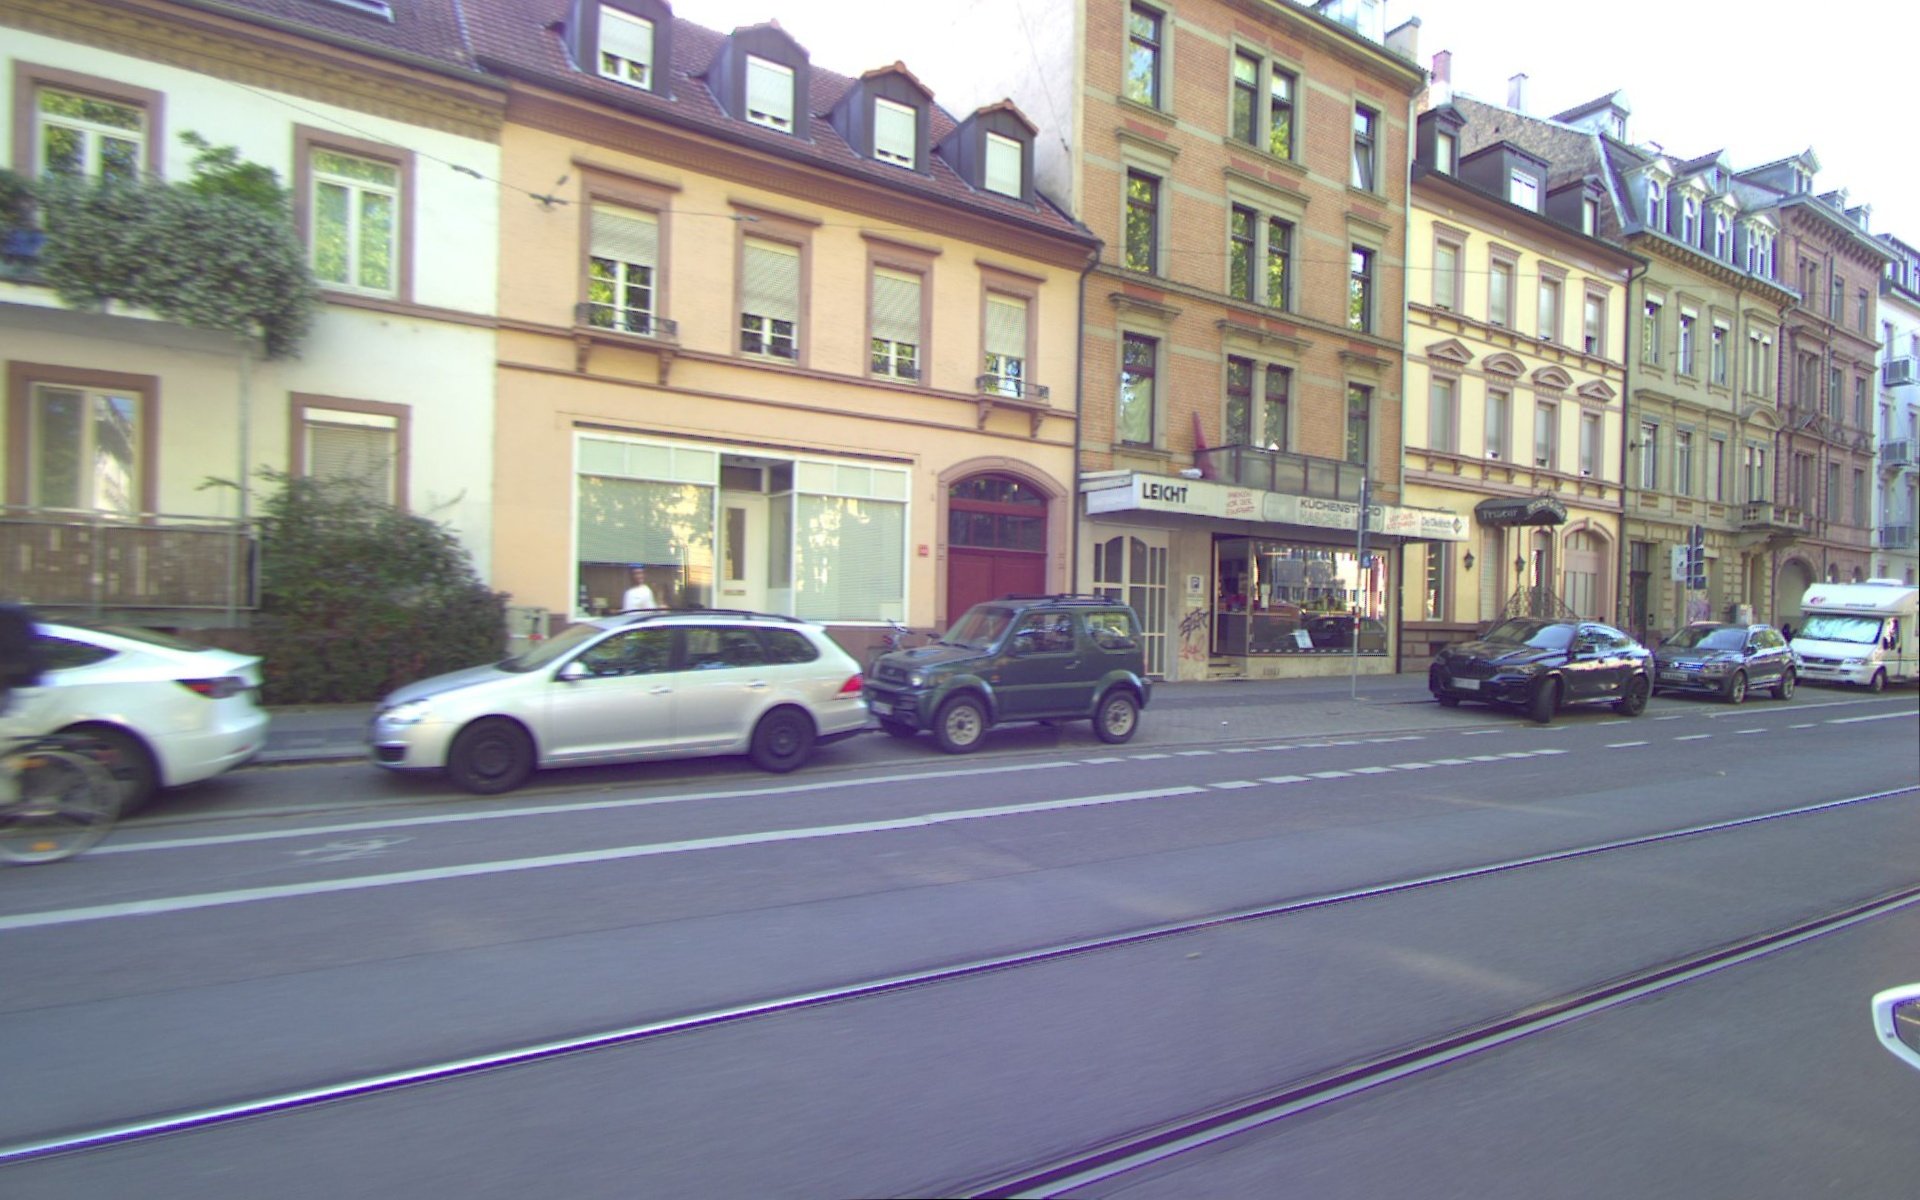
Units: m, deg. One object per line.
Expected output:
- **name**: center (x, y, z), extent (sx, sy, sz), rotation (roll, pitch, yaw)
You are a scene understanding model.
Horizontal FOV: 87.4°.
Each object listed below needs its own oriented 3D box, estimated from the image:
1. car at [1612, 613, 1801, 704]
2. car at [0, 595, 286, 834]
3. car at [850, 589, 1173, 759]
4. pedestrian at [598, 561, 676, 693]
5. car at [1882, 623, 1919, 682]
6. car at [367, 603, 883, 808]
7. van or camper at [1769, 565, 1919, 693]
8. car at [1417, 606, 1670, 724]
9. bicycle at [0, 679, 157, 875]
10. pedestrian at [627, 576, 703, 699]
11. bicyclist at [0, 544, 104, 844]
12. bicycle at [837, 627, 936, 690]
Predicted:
- **car**: center (16.816, 1.262, 22.582), extent (4.422, 1.805, 1.953), rotation (2, 0, -33)
- **car**: center (-7.463, 0.733, 6.895), extent (4.639, 1.523, 1.816), rotation (1, 1, -34)
- **car**: center (0.670, 0.804, 12.141), extent (3.645, 1.755, 1.547), rotation (1, 1, -32)
- **pedestrian**: center (-4.234, 0.337, 13.149), extent (0.763, 1.656, 0.653), rotation (3, 1, 44)
- **car**: center (30.313, 1.638, 31.130), extent (3.743, 1.749, 1.631), rotation (2, 0, -33)
- **car**: center (-3.117, 0.862, 9.661), extent (4.401, 1.523, 1.817), rotation (1, 1, -32)
- **van or camper**: center (25.421, 0.792, 27.838), extent (7.029, 3.182, 2.206), rotation (2, 1, -30)
- **car**: center (10.759, 1.107, 18.412), extent (4.885, 1.805, 1.952), rotation (2, 2, -33)
- **bicycle**: center (-5.841, 1.001, 5.623), extent (2.015, 1.061, 0.482), rotation (1, -2, -30)
- **pedestrian**: center (-3.716, 0.458, 12.662), extent (0.628, 1.480, 0.653), rotation (3, 1, 43)
- **bicyclist**: center (-5.559, 0.524, 5.731), extent (0.886, 1.656, 0.533), rotation (2, -2, -30)
- **bicycle**: center (-1.230, 0.979, 17.011), extent (1.703, 1.028, 0.297), rotation (2, -1, -31)
